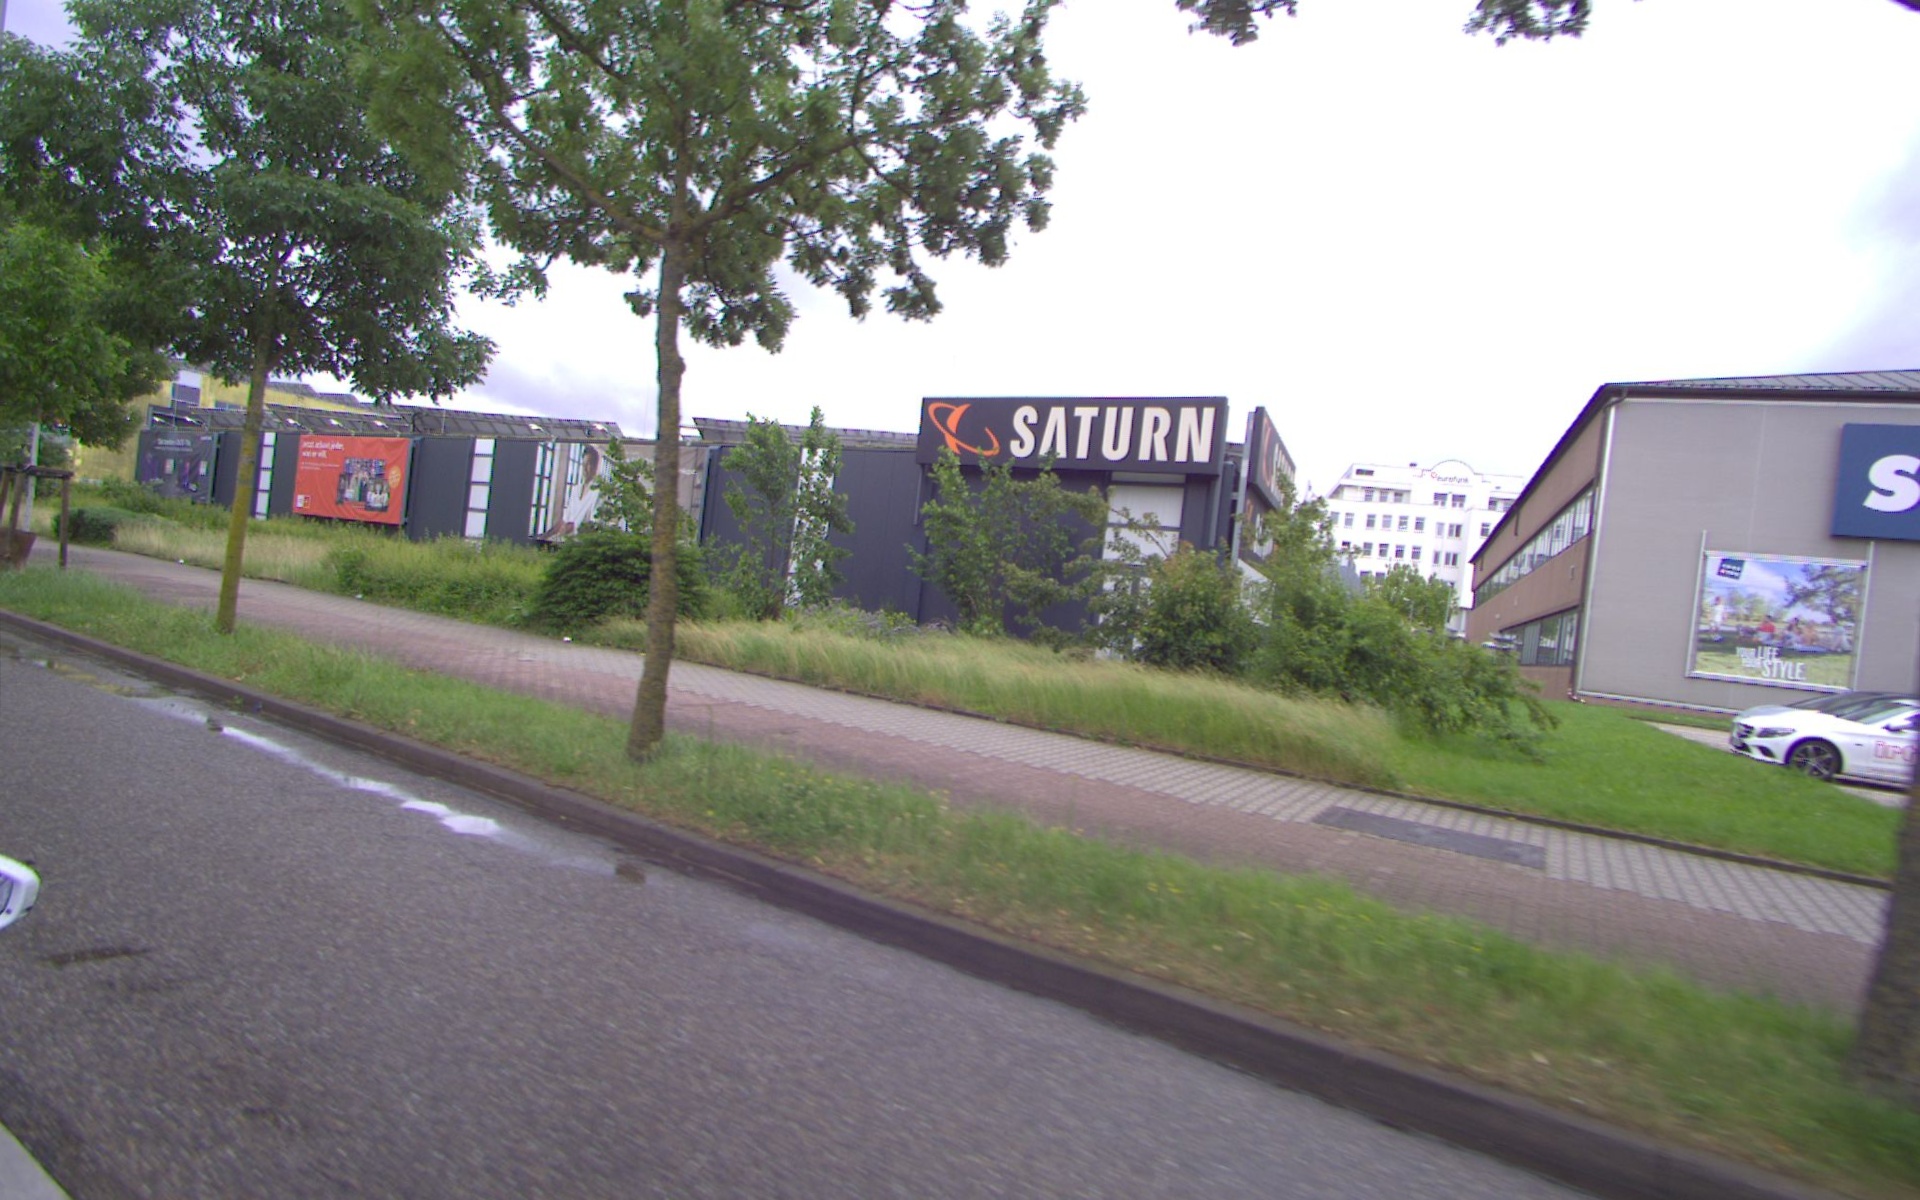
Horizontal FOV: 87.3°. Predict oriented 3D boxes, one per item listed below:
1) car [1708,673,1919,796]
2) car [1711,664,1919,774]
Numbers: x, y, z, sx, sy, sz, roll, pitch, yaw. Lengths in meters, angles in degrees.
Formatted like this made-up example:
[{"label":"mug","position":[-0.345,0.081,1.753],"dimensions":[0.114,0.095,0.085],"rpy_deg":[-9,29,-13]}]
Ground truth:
[{"label":"car","position":[14.893,2.251,15.902],"dimensions":[4.444,1.566,1.906],"rpy_deg":[7,-2,23]},{"label":"car","position":[16.291,2.211,18.396],"dimensions":[3.593,1.570,2.001],"rpy_deg":[7,-2,24]}]
